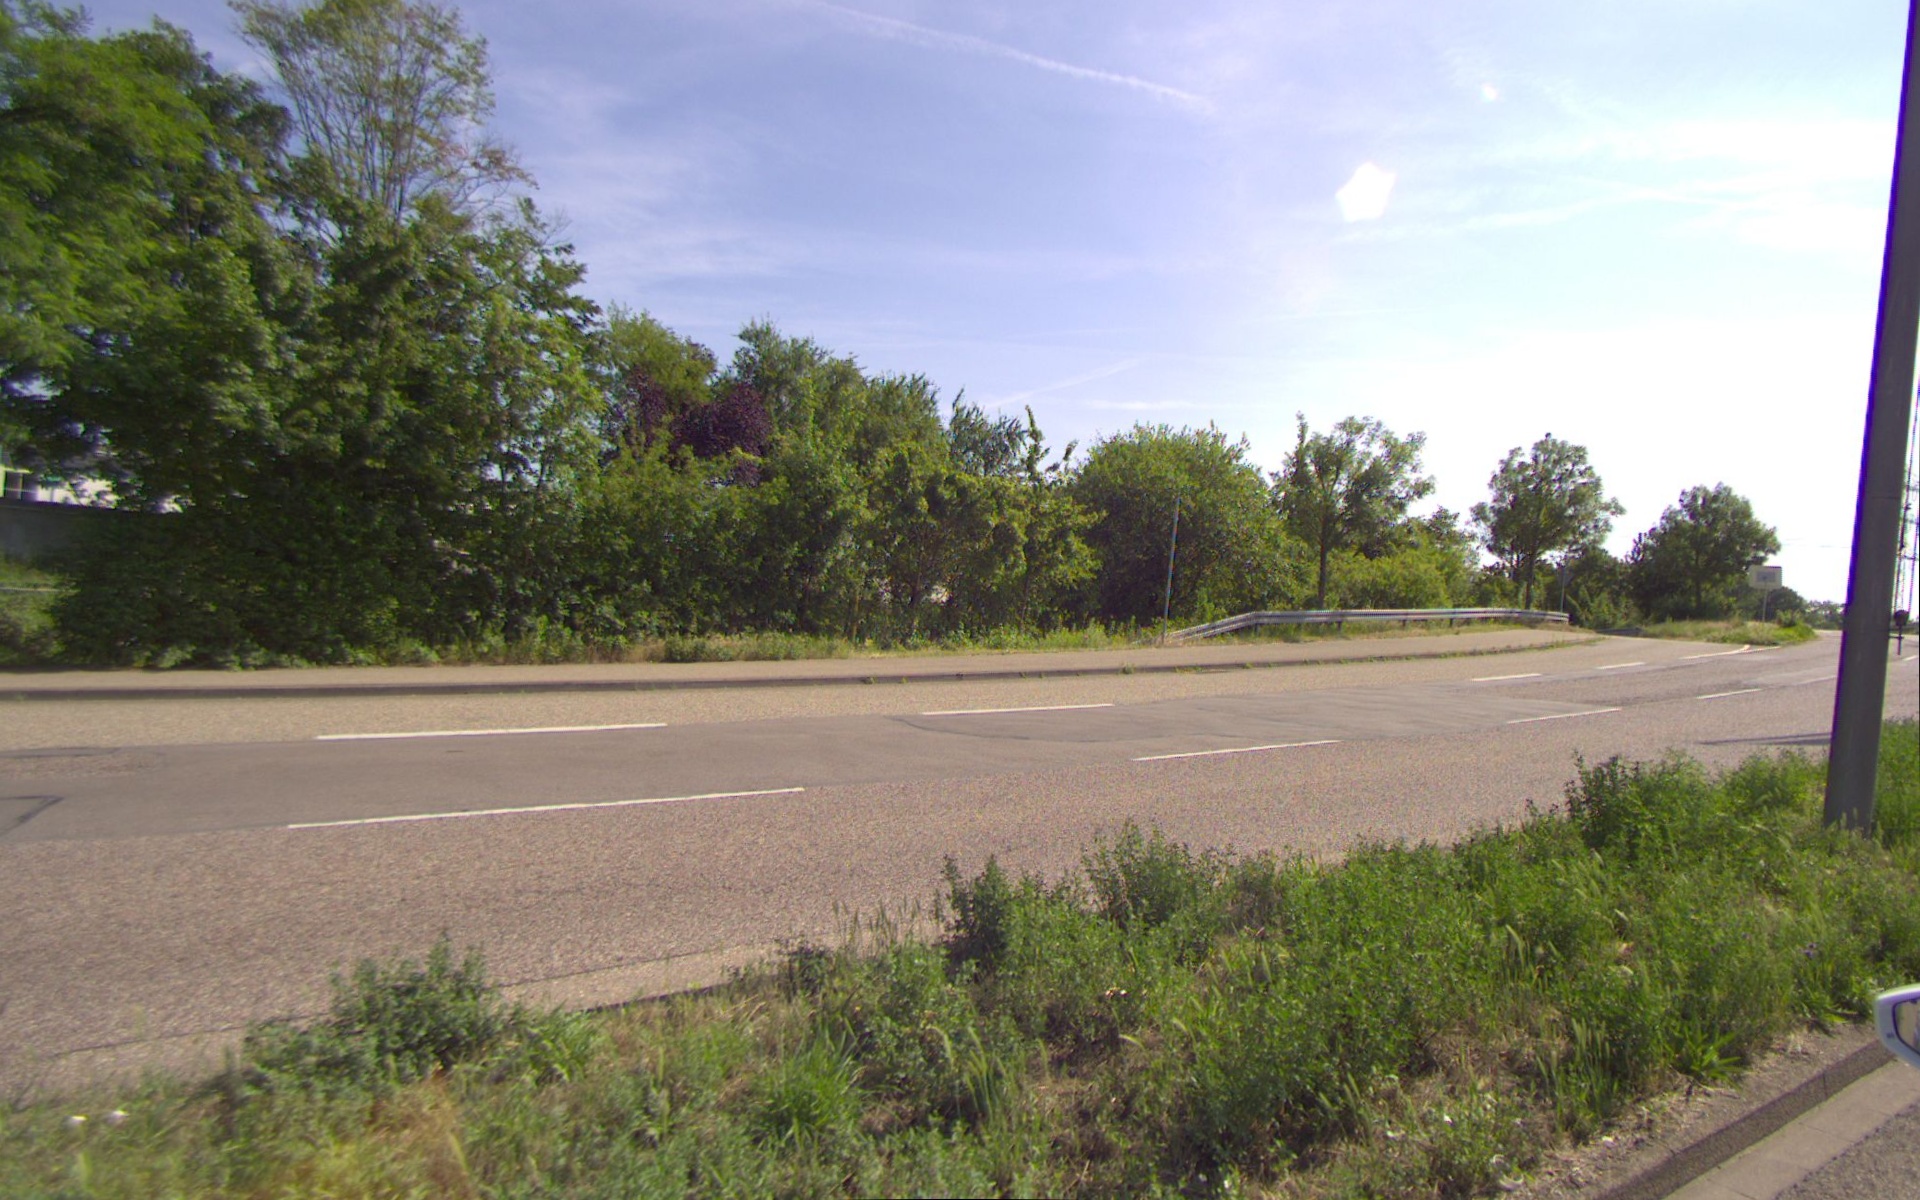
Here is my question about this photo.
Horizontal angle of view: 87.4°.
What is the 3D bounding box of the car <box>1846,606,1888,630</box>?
[{"bbox_3d":[61.070,1.171,67.662,1.761,1.505,4.242,0,0,38],"label":"car"}]
